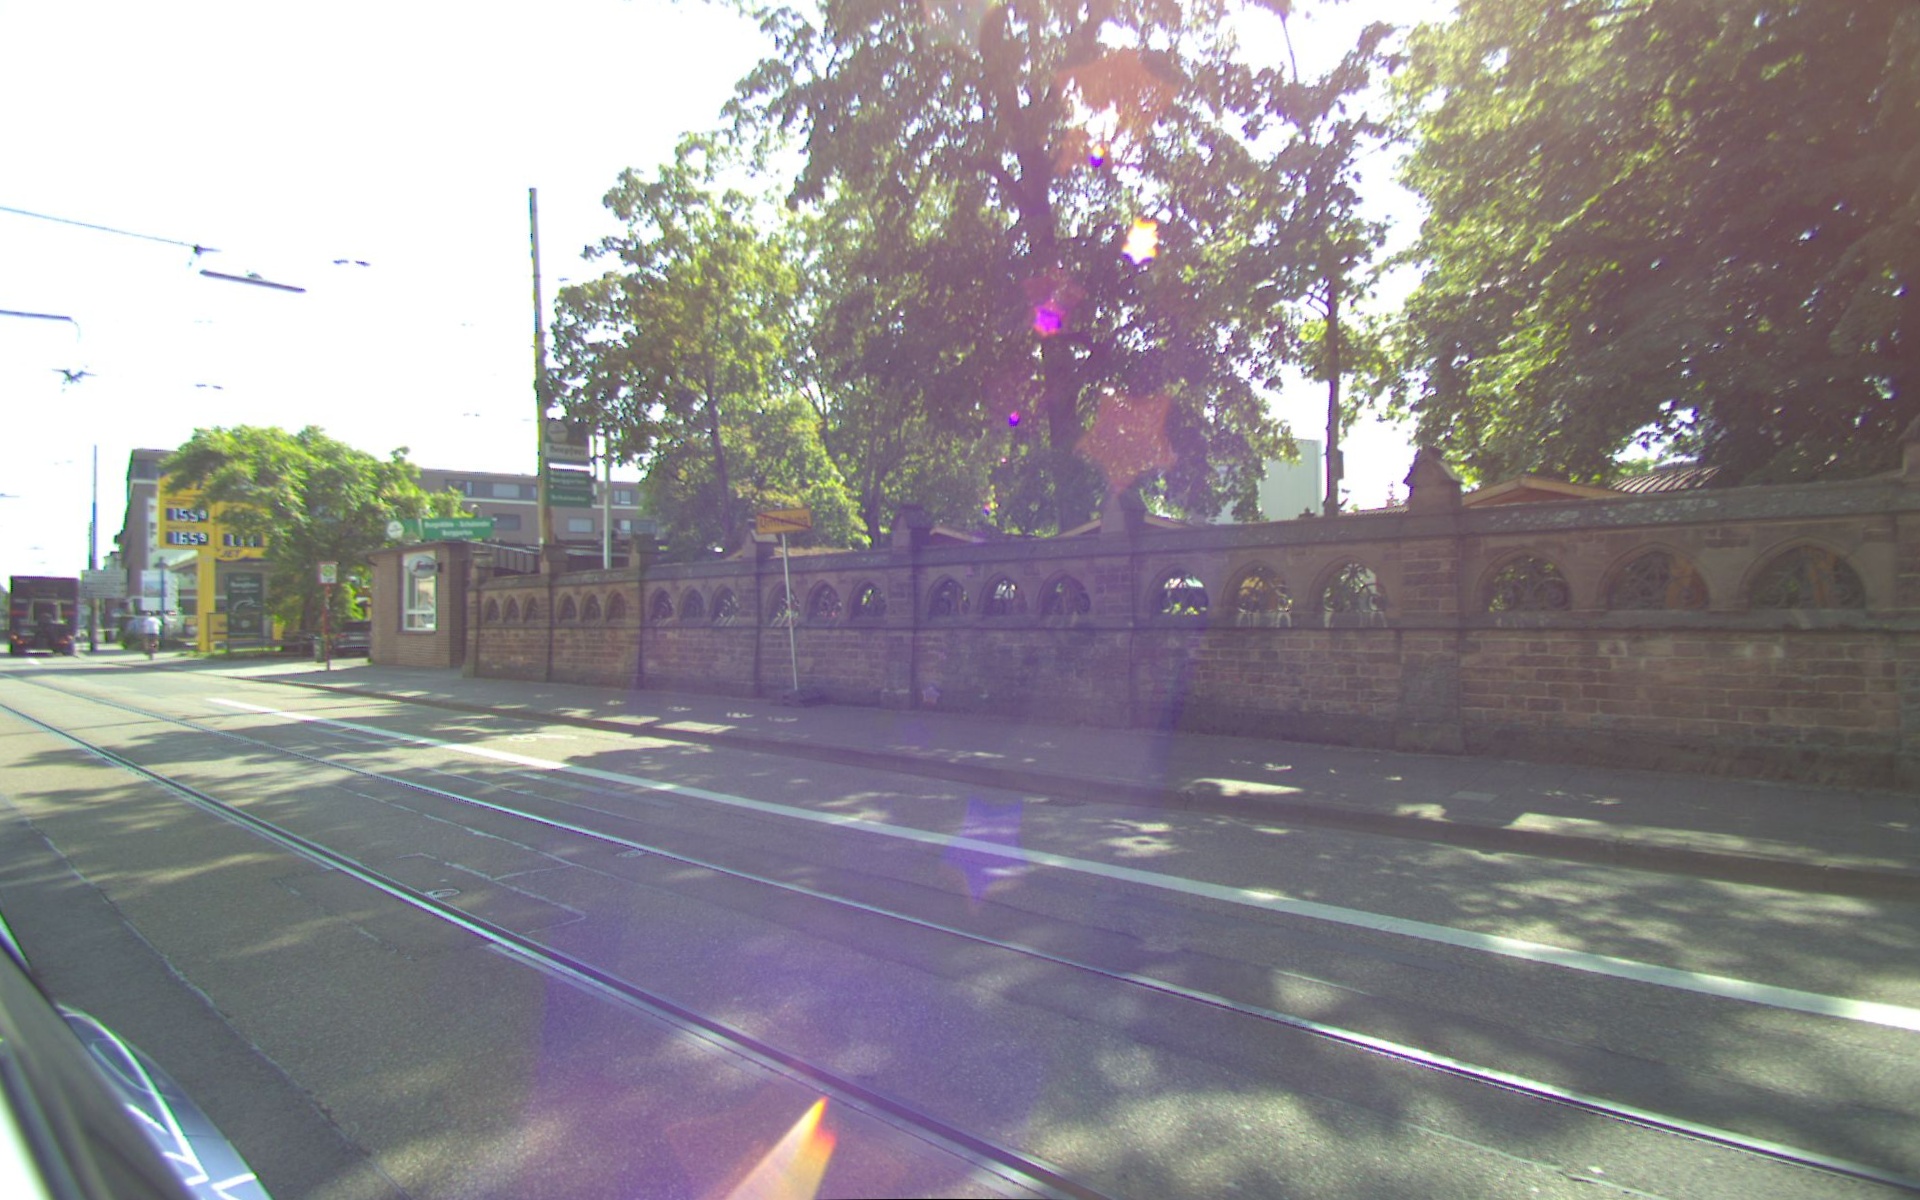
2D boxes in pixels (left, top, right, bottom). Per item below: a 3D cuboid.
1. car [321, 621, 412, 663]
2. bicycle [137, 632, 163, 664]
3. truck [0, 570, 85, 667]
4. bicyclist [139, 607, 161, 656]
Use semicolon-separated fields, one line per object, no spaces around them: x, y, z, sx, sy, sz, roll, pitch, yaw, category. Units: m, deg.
-22.916;1.593;39.238;1.905;1.472;4.540;-1;-1;-15;car
-32.822;1.930;41.027;0.775;1.250;2.038;0;-1;-37;bicycle
-49.172;1.014;54.147;3.127;4.487;16.859;0;-1;-42;truck
-32.886;1.281;41.087;0.632;1.944;1.178;0;-1;-36;bicyclist
